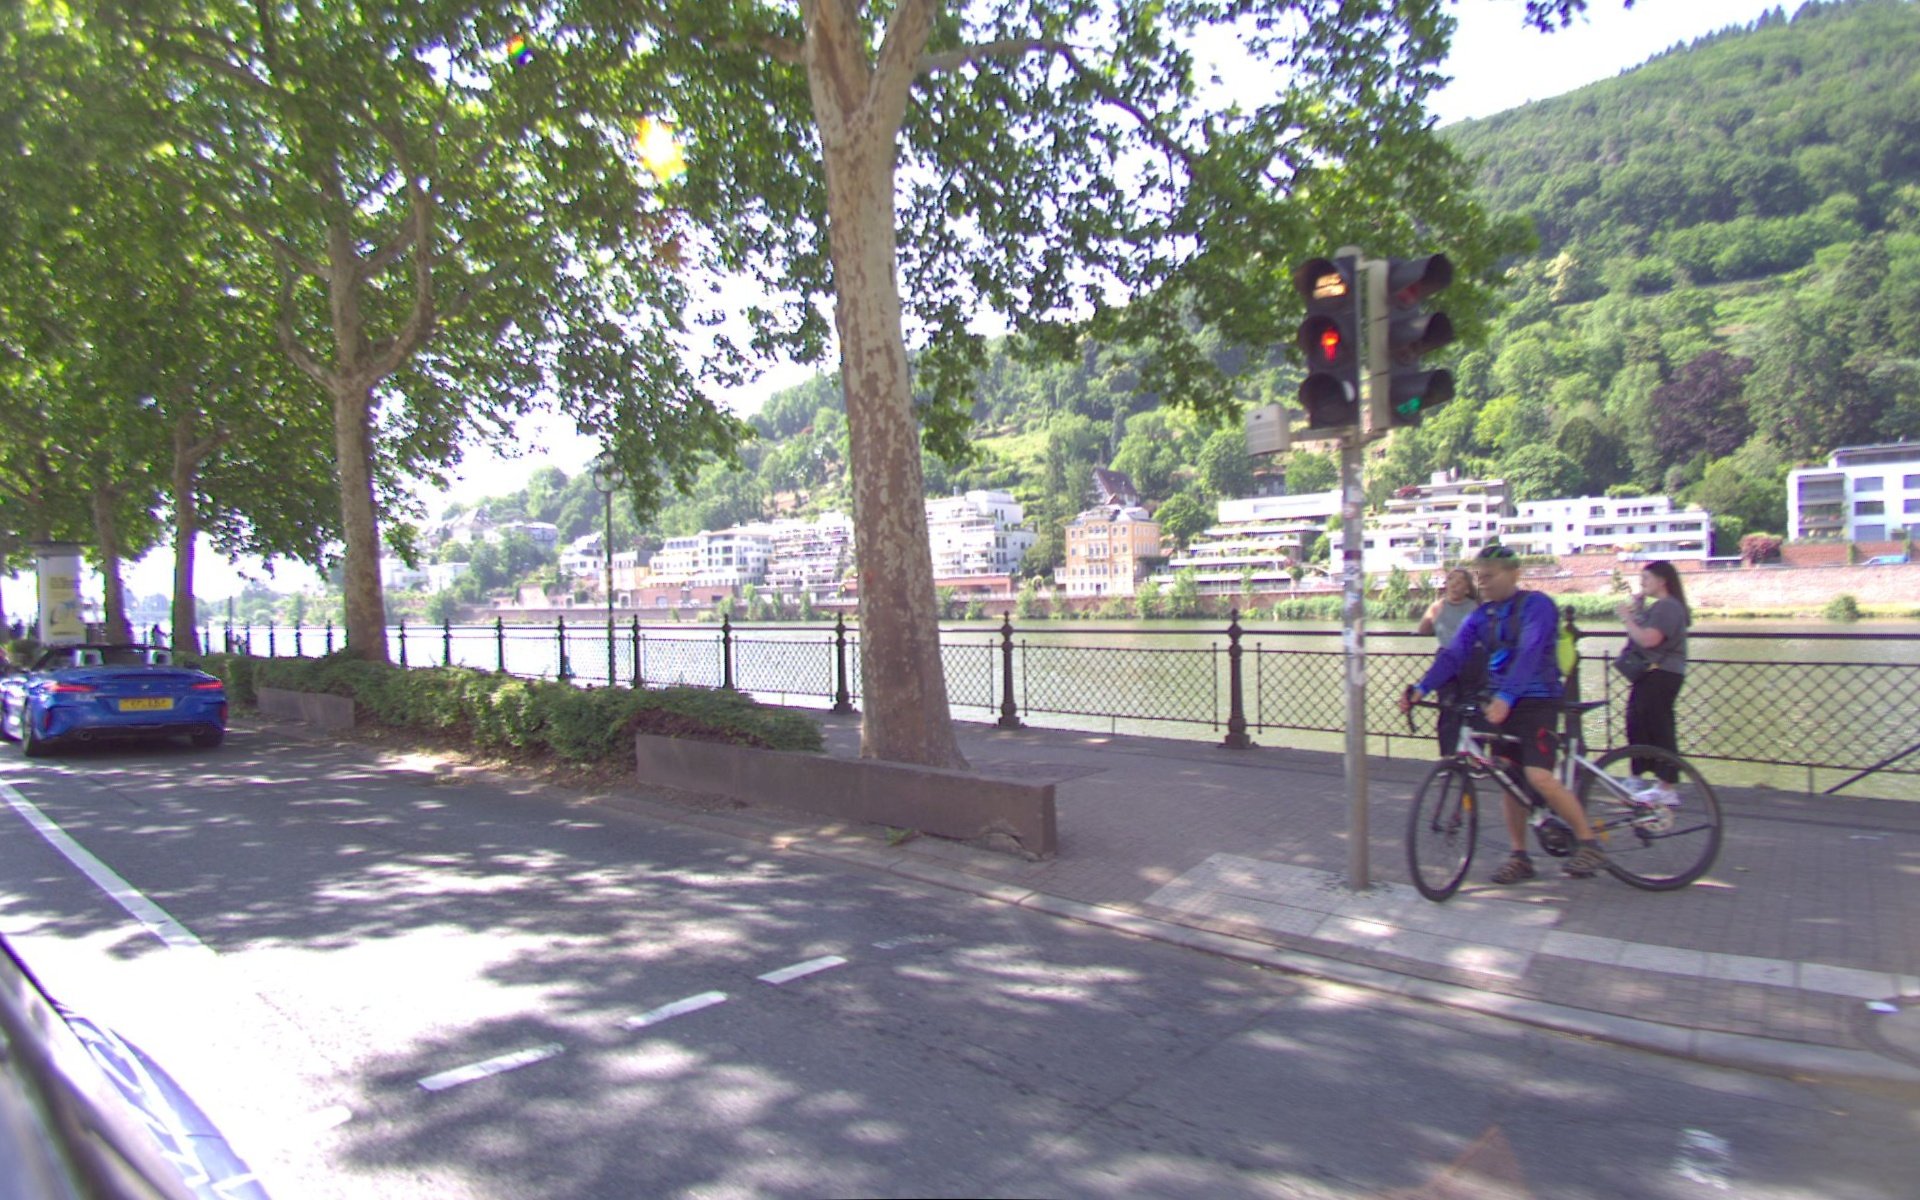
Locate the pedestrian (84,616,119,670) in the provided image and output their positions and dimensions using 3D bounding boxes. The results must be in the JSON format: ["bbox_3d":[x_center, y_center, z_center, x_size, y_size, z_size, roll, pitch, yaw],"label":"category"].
[{"bbox_3d":[-28.078,1.398,33.096,0.729,1.743,0.750,-1,0,40],"label":"pedestrian"}]

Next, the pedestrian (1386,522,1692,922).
[{"bbox_3d":[2.813,0.543,4.998,1.008,1.786,0.770,-1,0,-9],"label":"pedestrian"}]

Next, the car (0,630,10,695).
[{"bbox_3d":[-24.889,1.495,25.003,4.404,1.529,1.683,-1,-3,42],"label":"car"}]

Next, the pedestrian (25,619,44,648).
[{"bbox_3d":[-57.744,2.087,63.143,0.729,1.719,0.750,-1,0,40],"label":"pedestrian"}]

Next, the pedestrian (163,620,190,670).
[{"bbox_3d":[-26.415,1.505,34.120,0.552,1.640,0.625,-1,0,40],"label":"pedestrian"}]

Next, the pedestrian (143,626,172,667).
[{"bbox_3d":[-26.724,1.538,33.701,0.552,1.330,0.625,-1,0,40],"label":"pedestrian"}]

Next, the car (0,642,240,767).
[{"bbox_3d":[-10.837,1.198,12.765,4.259,1.279,1.822,-1,-3,40],"label":"car"}]

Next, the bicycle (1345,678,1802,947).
[{"bbox_3d":[2.966,0.978,4.976,1.802,0.932,0.744,-6,1,-8],"label":"bicycle"}]

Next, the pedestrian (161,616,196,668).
[{"bbox_3d":[-26.421,1.410,34.213,0.709,1.696,0.783,-1,0,40],"label":"pedestrian"}]

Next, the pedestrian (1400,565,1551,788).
[{"bbox_3d":[4.025,0.565,7.911,0.910,1.620,0.544,-1,2,40],"label":"pedestrian"}]

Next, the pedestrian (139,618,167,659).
[{"bbox_3d":[-26.889,1.288,33.716,0.552,1.330,0.625,-1,0,40],"label":"pedestrian"}]

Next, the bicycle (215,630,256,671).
[{"bbox_3d":[-22.064,1.529,30.811,1.843,1.161,0.557,-1,2,41],"label":"bicycle"}]

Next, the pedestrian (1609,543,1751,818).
[{"bbox_3d":[4.808,0.499,6.759,0.695,1.713,0.612,-1,1,40],"label":"pedestrian"}]
